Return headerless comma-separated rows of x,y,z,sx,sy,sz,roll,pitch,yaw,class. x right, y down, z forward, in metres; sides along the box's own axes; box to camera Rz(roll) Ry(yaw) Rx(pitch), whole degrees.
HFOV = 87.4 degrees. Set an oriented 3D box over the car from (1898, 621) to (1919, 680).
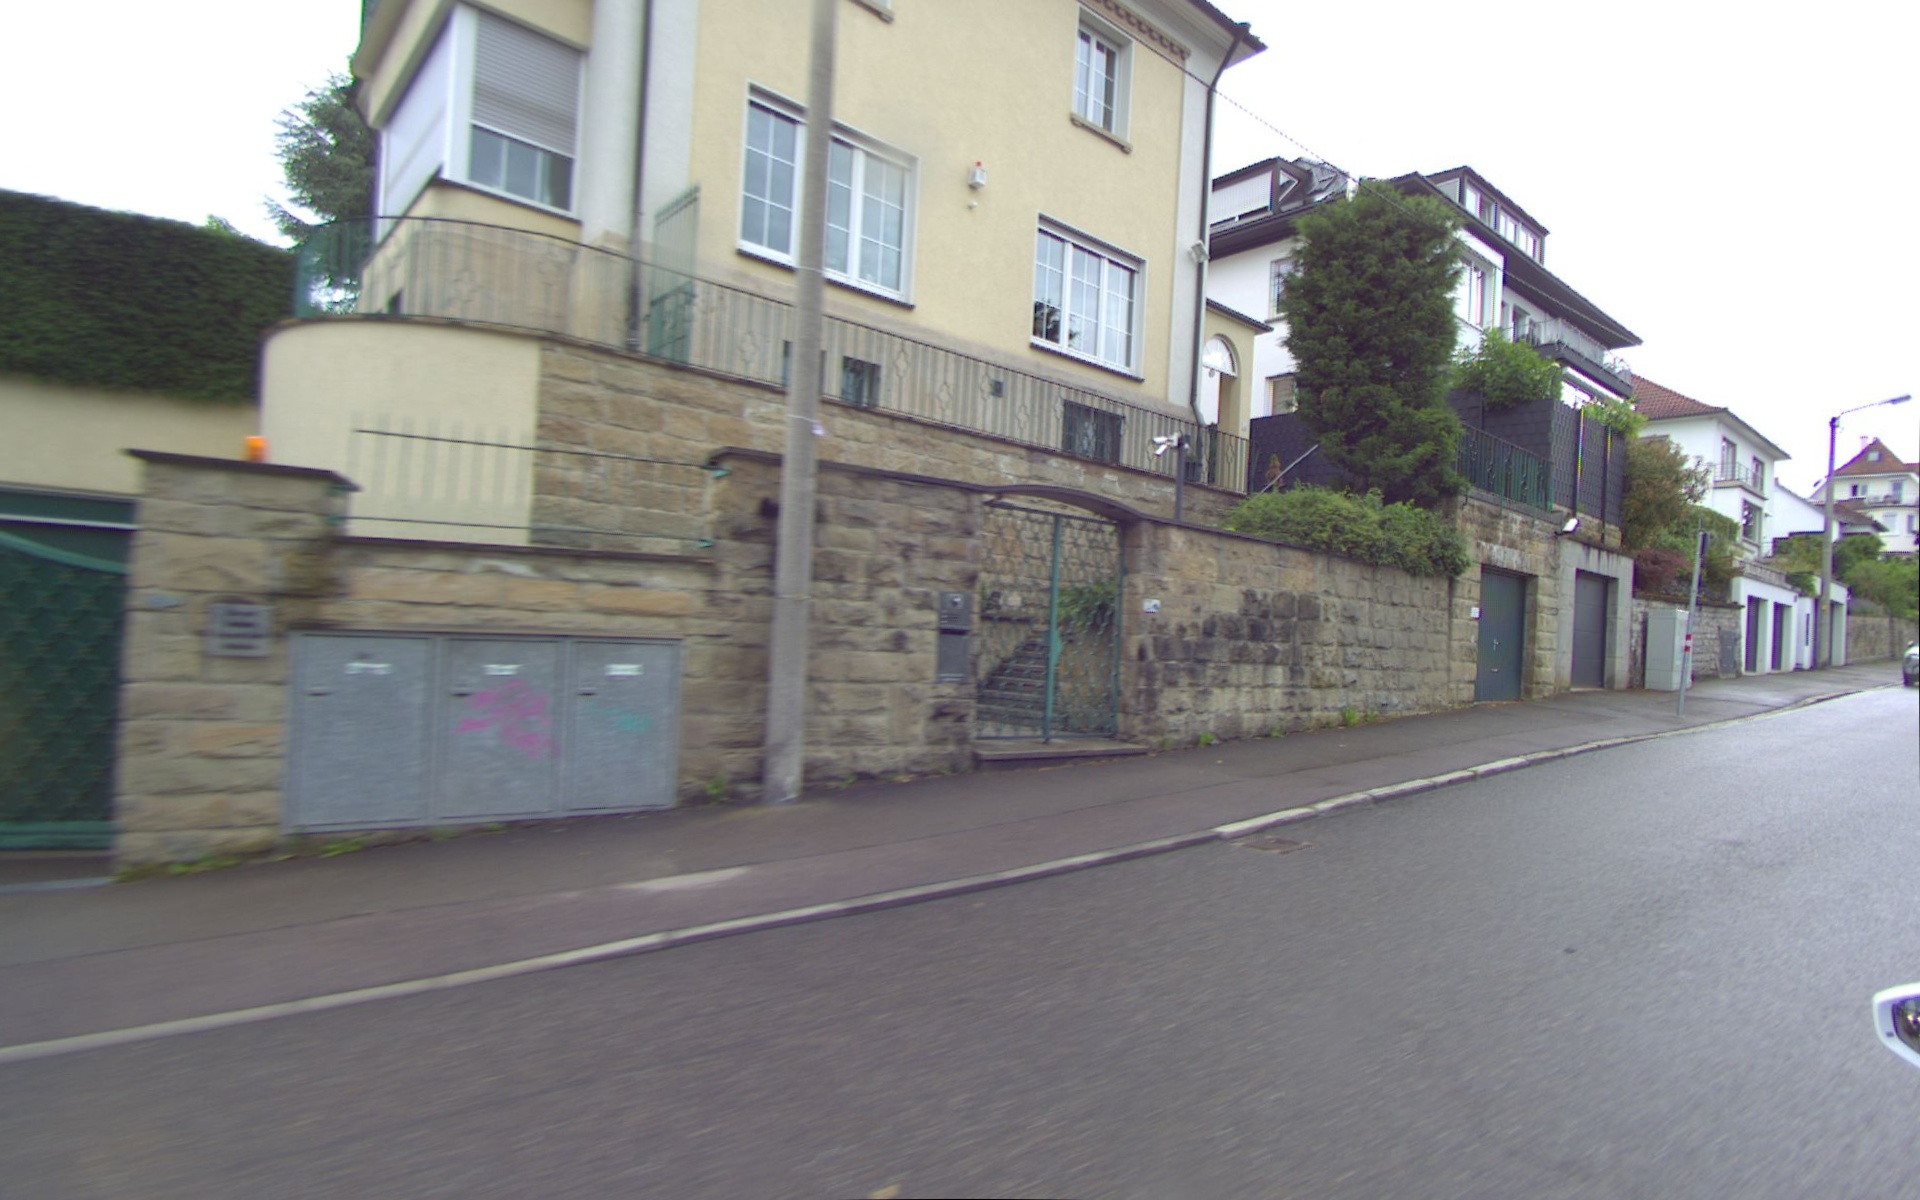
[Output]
27.808,1.398,28.047,4.203,1.588,1.882,2,-1,-40,car
